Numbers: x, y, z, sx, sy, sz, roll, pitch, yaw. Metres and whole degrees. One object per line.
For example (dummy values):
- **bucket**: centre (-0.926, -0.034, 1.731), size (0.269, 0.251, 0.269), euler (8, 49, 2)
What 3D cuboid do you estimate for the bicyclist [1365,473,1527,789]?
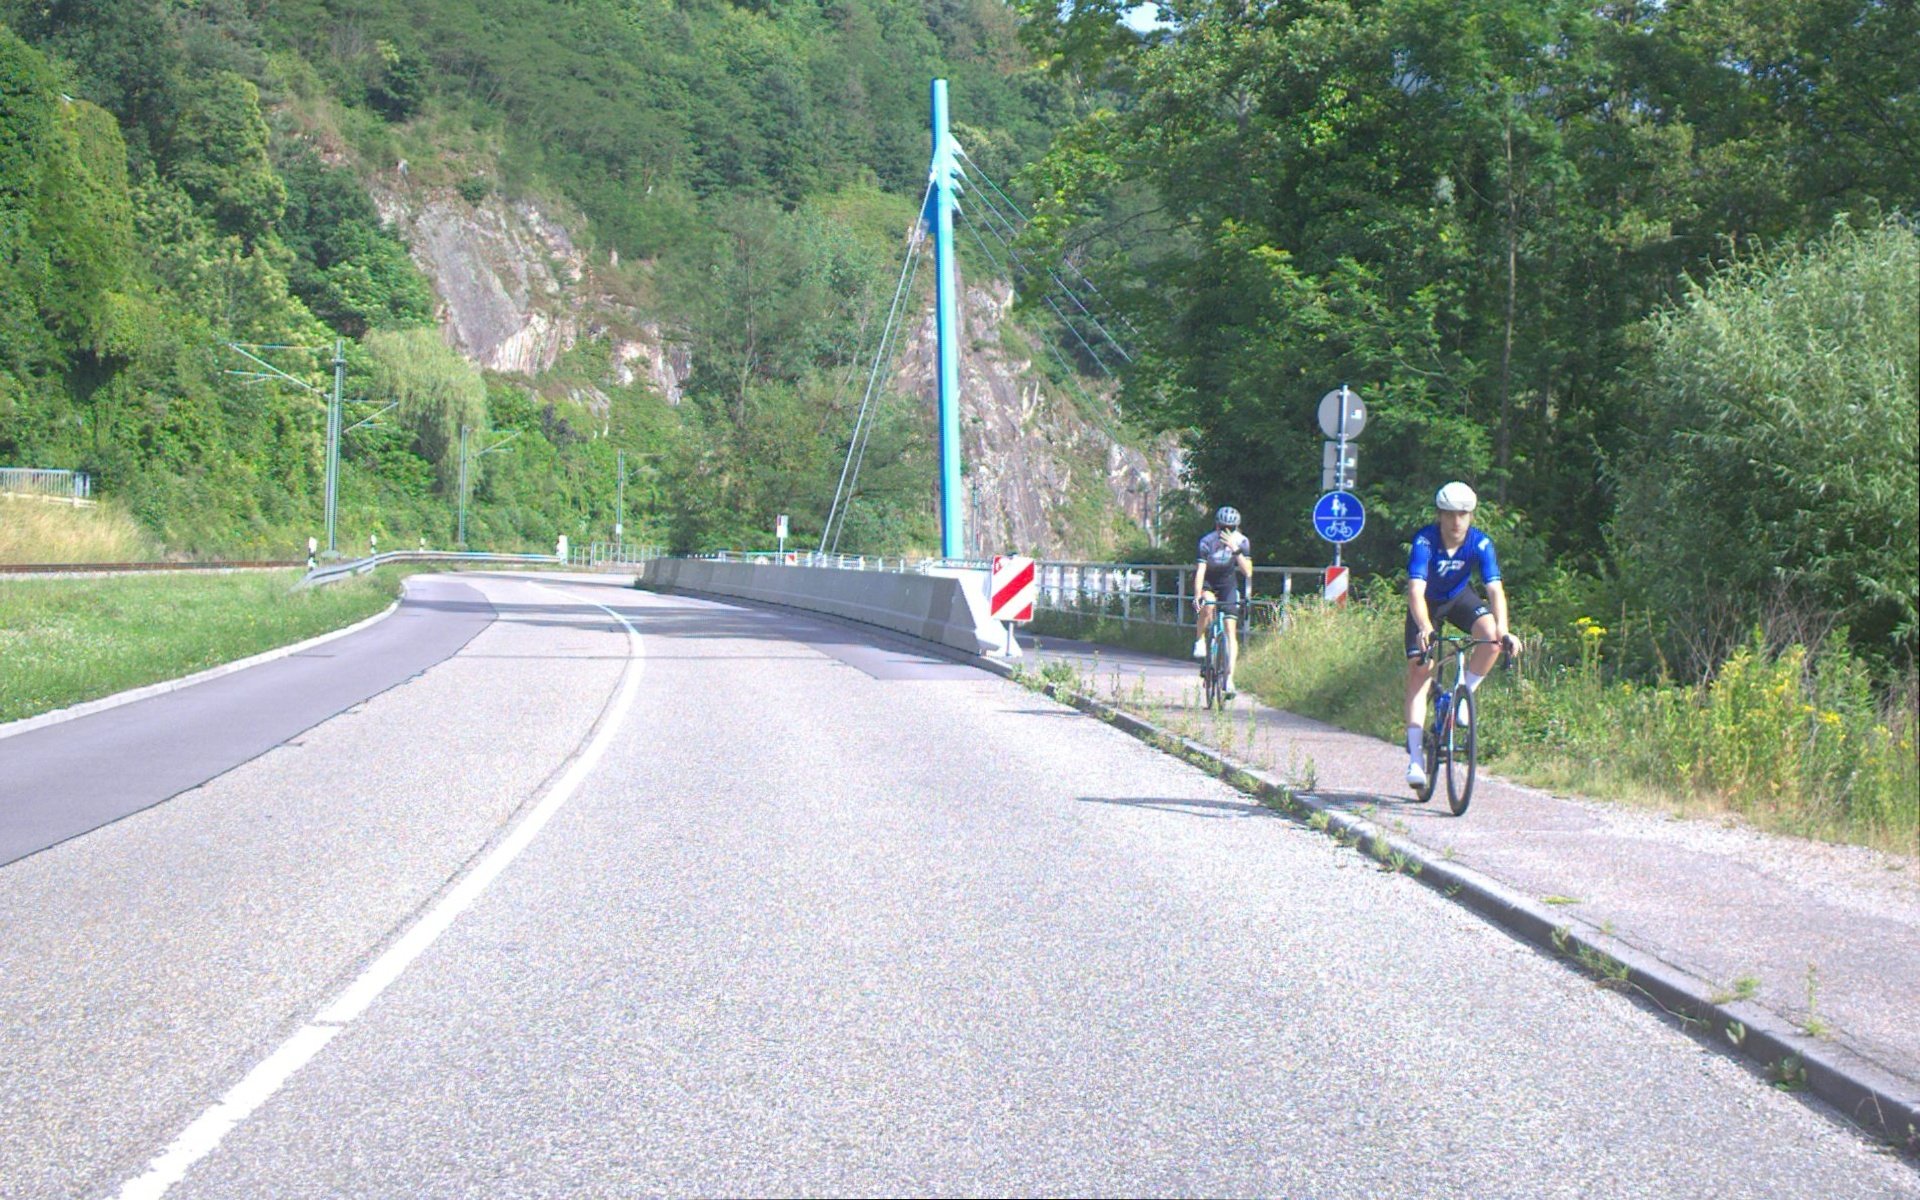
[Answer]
- **bicyclist**: centre (2.619, 0.157, 18.602), size (0.641, 1.648, 0.808), euler (2, 1, -4)

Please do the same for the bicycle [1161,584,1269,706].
- **bicycle**: centre (2.138, 0.361, 28.981), size (0.600, 0.913, 1.848), euler (4, 1, -4)

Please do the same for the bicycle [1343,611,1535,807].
- **bicycle**: centre (2.582, 0.567, 18.711), size (0.648, 0.939, 1.848), euler (2, 1, -4)

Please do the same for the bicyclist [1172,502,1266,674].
- **bicyclist**: centre (2.174, -0.110, 28.935), size (0.592, 1.396, 0.761), euler (4, 1, -4)
